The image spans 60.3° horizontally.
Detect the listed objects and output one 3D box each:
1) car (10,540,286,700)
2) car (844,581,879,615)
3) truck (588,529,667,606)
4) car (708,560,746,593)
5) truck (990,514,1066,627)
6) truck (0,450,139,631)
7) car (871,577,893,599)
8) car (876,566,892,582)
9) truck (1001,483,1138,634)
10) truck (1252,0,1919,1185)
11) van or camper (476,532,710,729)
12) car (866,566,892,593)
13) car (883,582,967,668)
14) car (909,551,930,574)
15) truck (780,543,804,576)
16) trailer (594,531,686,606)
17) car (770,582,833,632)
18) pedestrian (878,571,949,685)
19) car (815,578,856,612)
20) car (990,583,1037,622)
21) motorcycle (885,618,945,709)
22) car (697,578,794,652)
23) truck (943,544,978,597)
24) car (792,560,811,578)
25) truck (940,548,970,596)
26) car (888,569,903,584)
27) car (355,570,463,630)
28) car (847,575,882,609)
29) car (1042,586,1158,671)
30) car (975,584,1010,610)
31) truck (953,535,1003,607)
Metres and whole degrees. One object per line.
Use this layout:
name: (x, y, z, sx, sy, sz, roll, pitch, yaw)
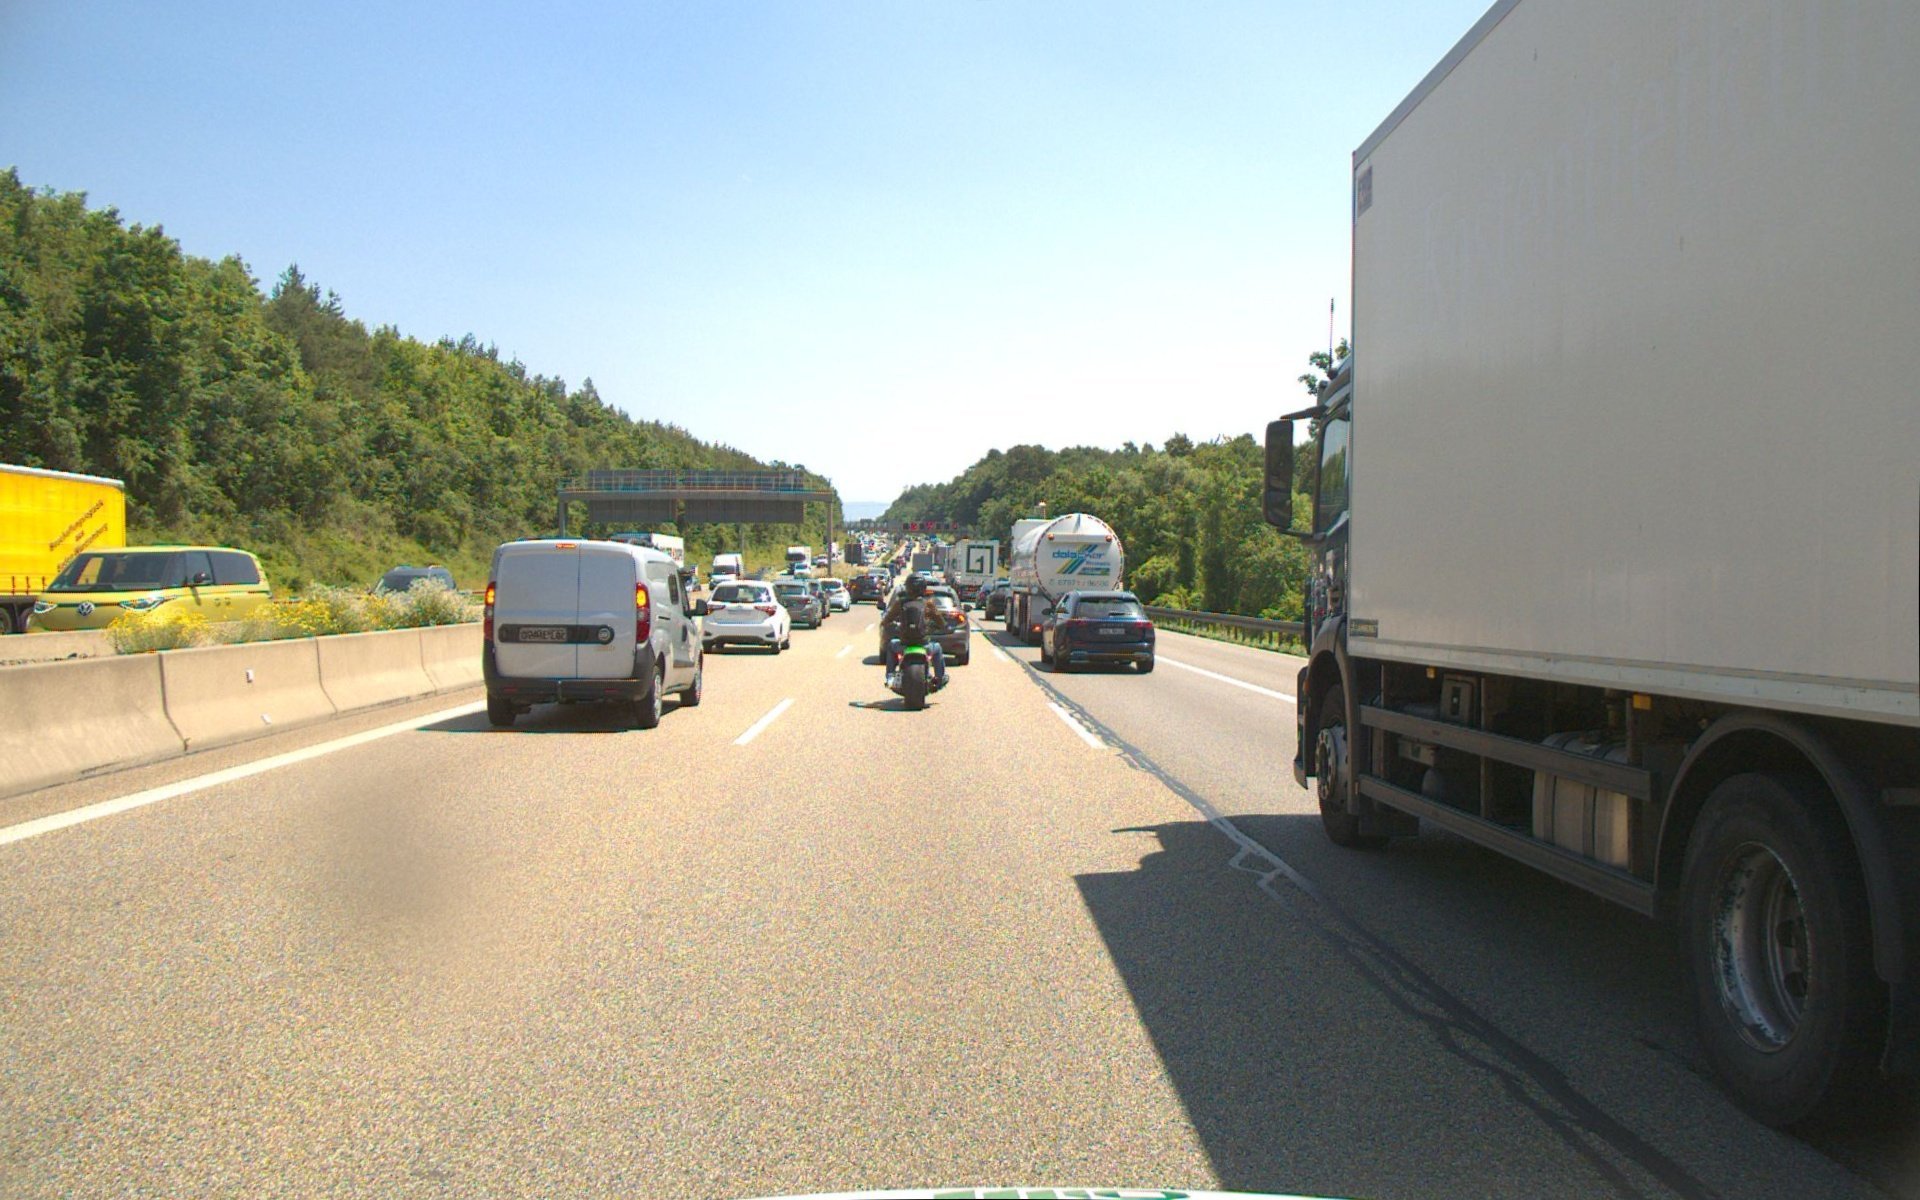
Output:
car: (-11.783, 0.273, 24.379, 1.842, 2.049, 4.467, -3, 0, -1)
car: (-6.200, -0.112, 104.472, 1.953, 2.049, 3.999, -2, 0, -1)
truck: (-21.105, -2.006, 105.429, 3.650, 4.607, 7.323, -2, 0, -2)
car: (-17.170, -1.729, 122.322, 1.953, 2.418, 7.363, 0, 1, -1)
truck: (2.229, -0.952, 55.643, 1.954, 3.584, 4.747, -2, 0, -4)
truck: (-22.859, -1.314, 35.335, 2.976, 4.052, 16.260, -1, 0, -2)
car: (-7.369, -1.125, 156.328, 1.953, 2.049, 3.999, -2, 0, -1)
car: (-9.899, -3.389, 215.641, 1.953, 2.049, 3.999, 0, 1, -1)
truck: (2.909, -1.037, 46.746, 2.927, 3.735, 9.285, -2, 0, -1)
truck: (3.495, -0.640, 6.614, 2.634, 3.943, 9.778, -2, 0, -1)
van or camper: (-3.927, 0.311, 18.360, 1.760, 1.925, 4.158, 0, 0, -2)
car: (-6.492, -1.614, 132.645, 1.890, 2.049, 3.999, -2, 0, -1)
car: (-0.718, 0.453, 32.757, 1.502, 1.536, 3.998, -2, 0, -2)
car: (-4.775, -4.454, 196.906, 2.454, 2.632, 5.015, 0, 1, -1)
truck: (-24.762, -5.891, 243.724, 2.709, 4.823, 10.469, 0, 1, -1)
trailer: (-21.197, -1.944, 110.523, 3.649, 4.607, 13.327, -2, 0, -1)
car: (-4.898, 0.185, 51.470, 1.665, 1.504, 3.999, 0, 1, -1)
pedestrian: (-0.579, 0.344, 21.012, 0.832, 1.385, 0.961, -2, 0, 0)
car: (-5.641, -0.249, 75.336, 1.665, 1.504, 3.999, 0, 1, -1)
car: (2.179, 0.073, 68.732, 1.751, 1.583, 3.802, 0, 1, -1)
motorcycle: (-0.545, 0.771, 20.780, 0.677, 1.033, 2.121, 1, 0, 0)
car: (-4.573, 0.289, 35.785, 1.665, 1.504, 3.999, 0, 1, -1)
truck: (0.001, -2.700, 153.211, 2.972, 4.621, 9.980, 1, 1, -1)
car: (-19.534, -3.799, 204.041, 1.842, 2.049, 4.467, -3, 0, -1)
truck: (-0.592, -3.086, 183.738, 2.972, 5.229, 9.980, 1, 1, -1)
car: (-9.178, -3.298, 234.903, 1.953, 2.049, 3.999, 1, 1, -1)
car: (-15.831, 0.014, 47.741, 1.651, 1.585, 4.421, -2, 0, -1)
car: (-5.465, -0.470, 95.207, 1.842, 1.892, 3.999, 1, 1, -1)
car: (2.605, 0.495, 31.601, 1.791, 1.496, 3.999, 1, 1, -1)
car: (1.780, -0.192, 91.081, 1.751, 1.398, 3.802, 0, 1, -1)
truck: (1.166, -1.964, 113.808, 2.972, 4.621, 9.980, 1, 1, -1)
